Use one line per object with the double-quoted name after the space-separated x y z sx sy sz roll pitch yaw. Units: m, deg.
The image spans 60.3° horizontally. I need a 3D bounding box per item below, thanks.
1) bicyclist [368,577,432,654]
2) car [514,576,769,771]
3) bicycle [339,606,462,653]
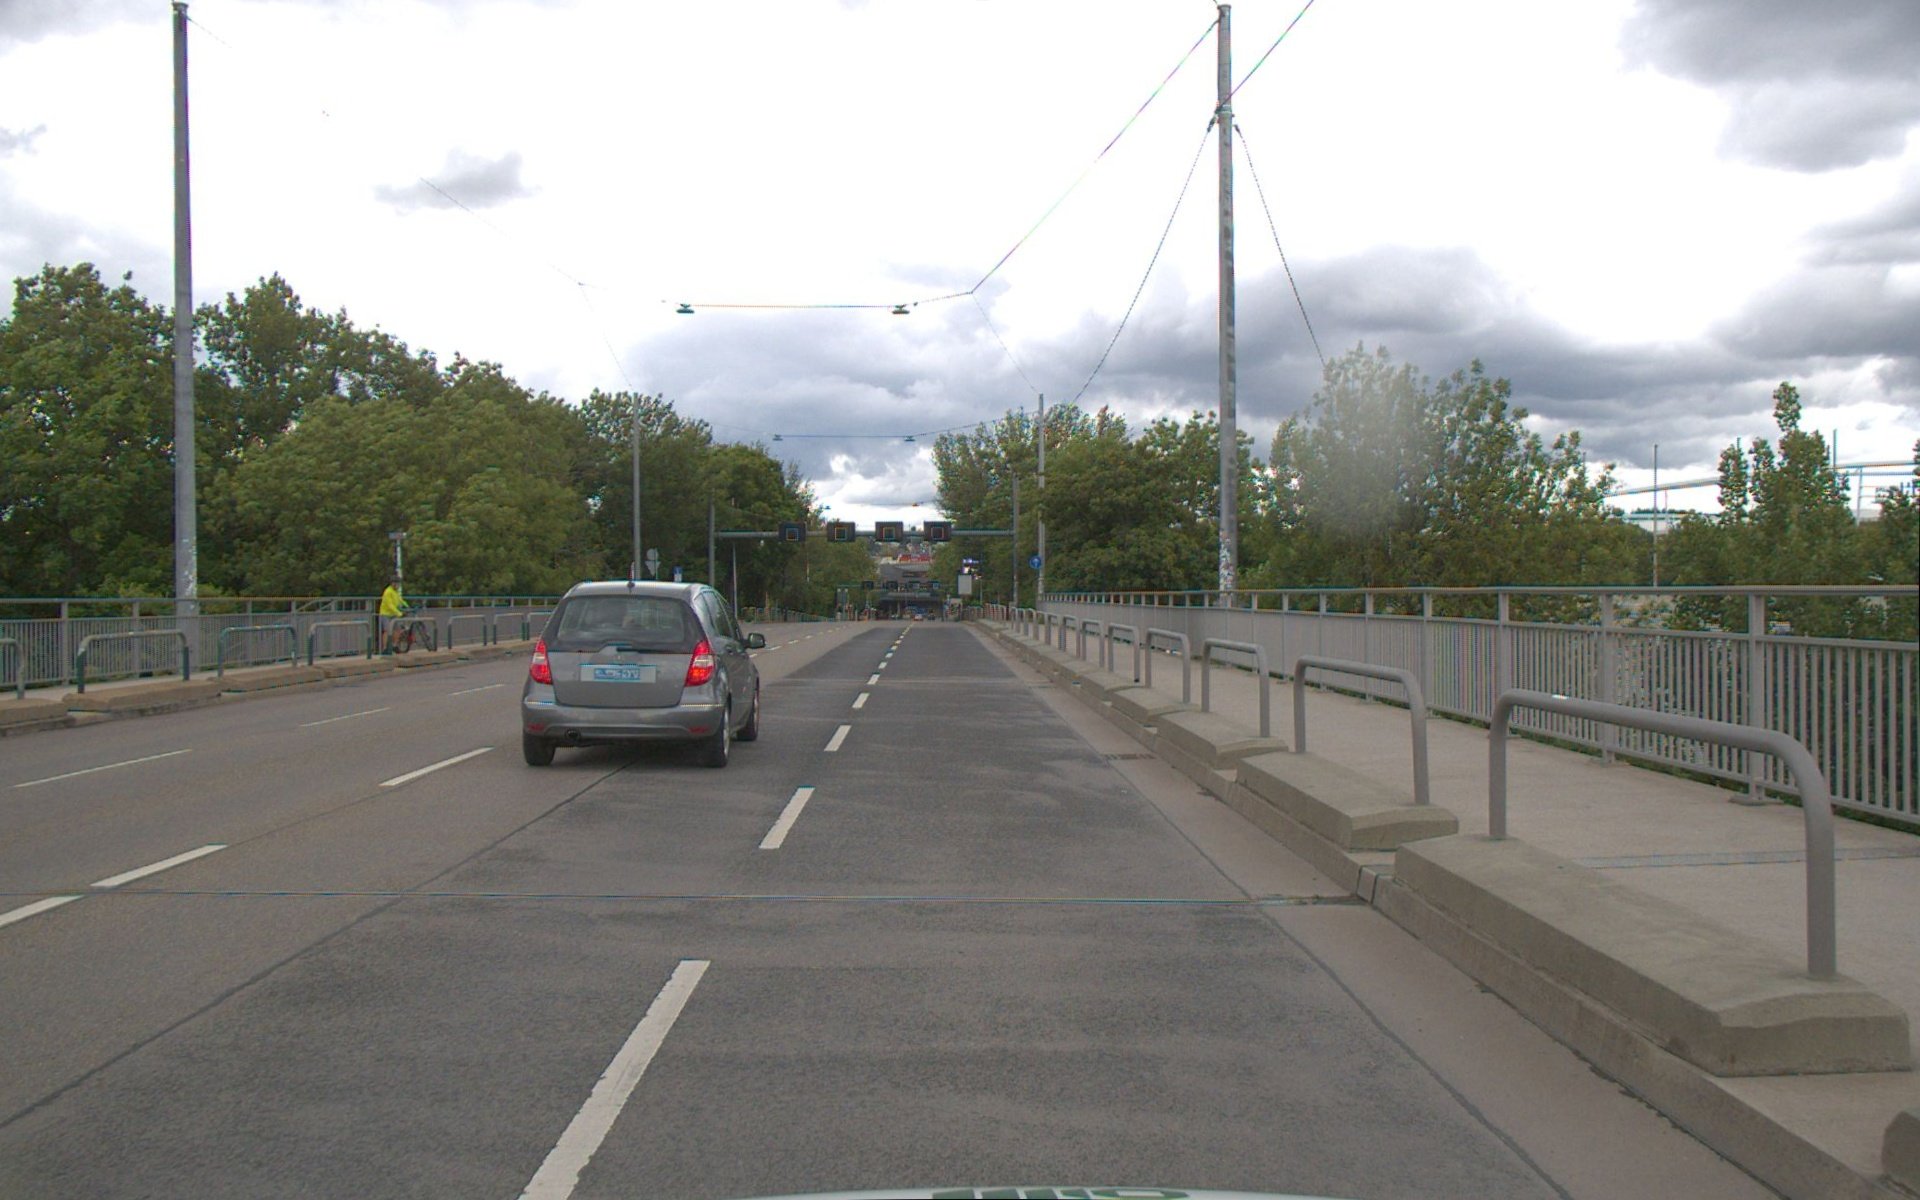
-13.177 0.352 38.919 1.108 1.795 0.906 0 0 17 "bicyclist"
-2.821 0.575 15.432 1.710 1.577 3.870 0 1 -2 "car"
-13.169 0.691 38.920 2.732 1.069 0.921 0 0 17 "bicycle"
